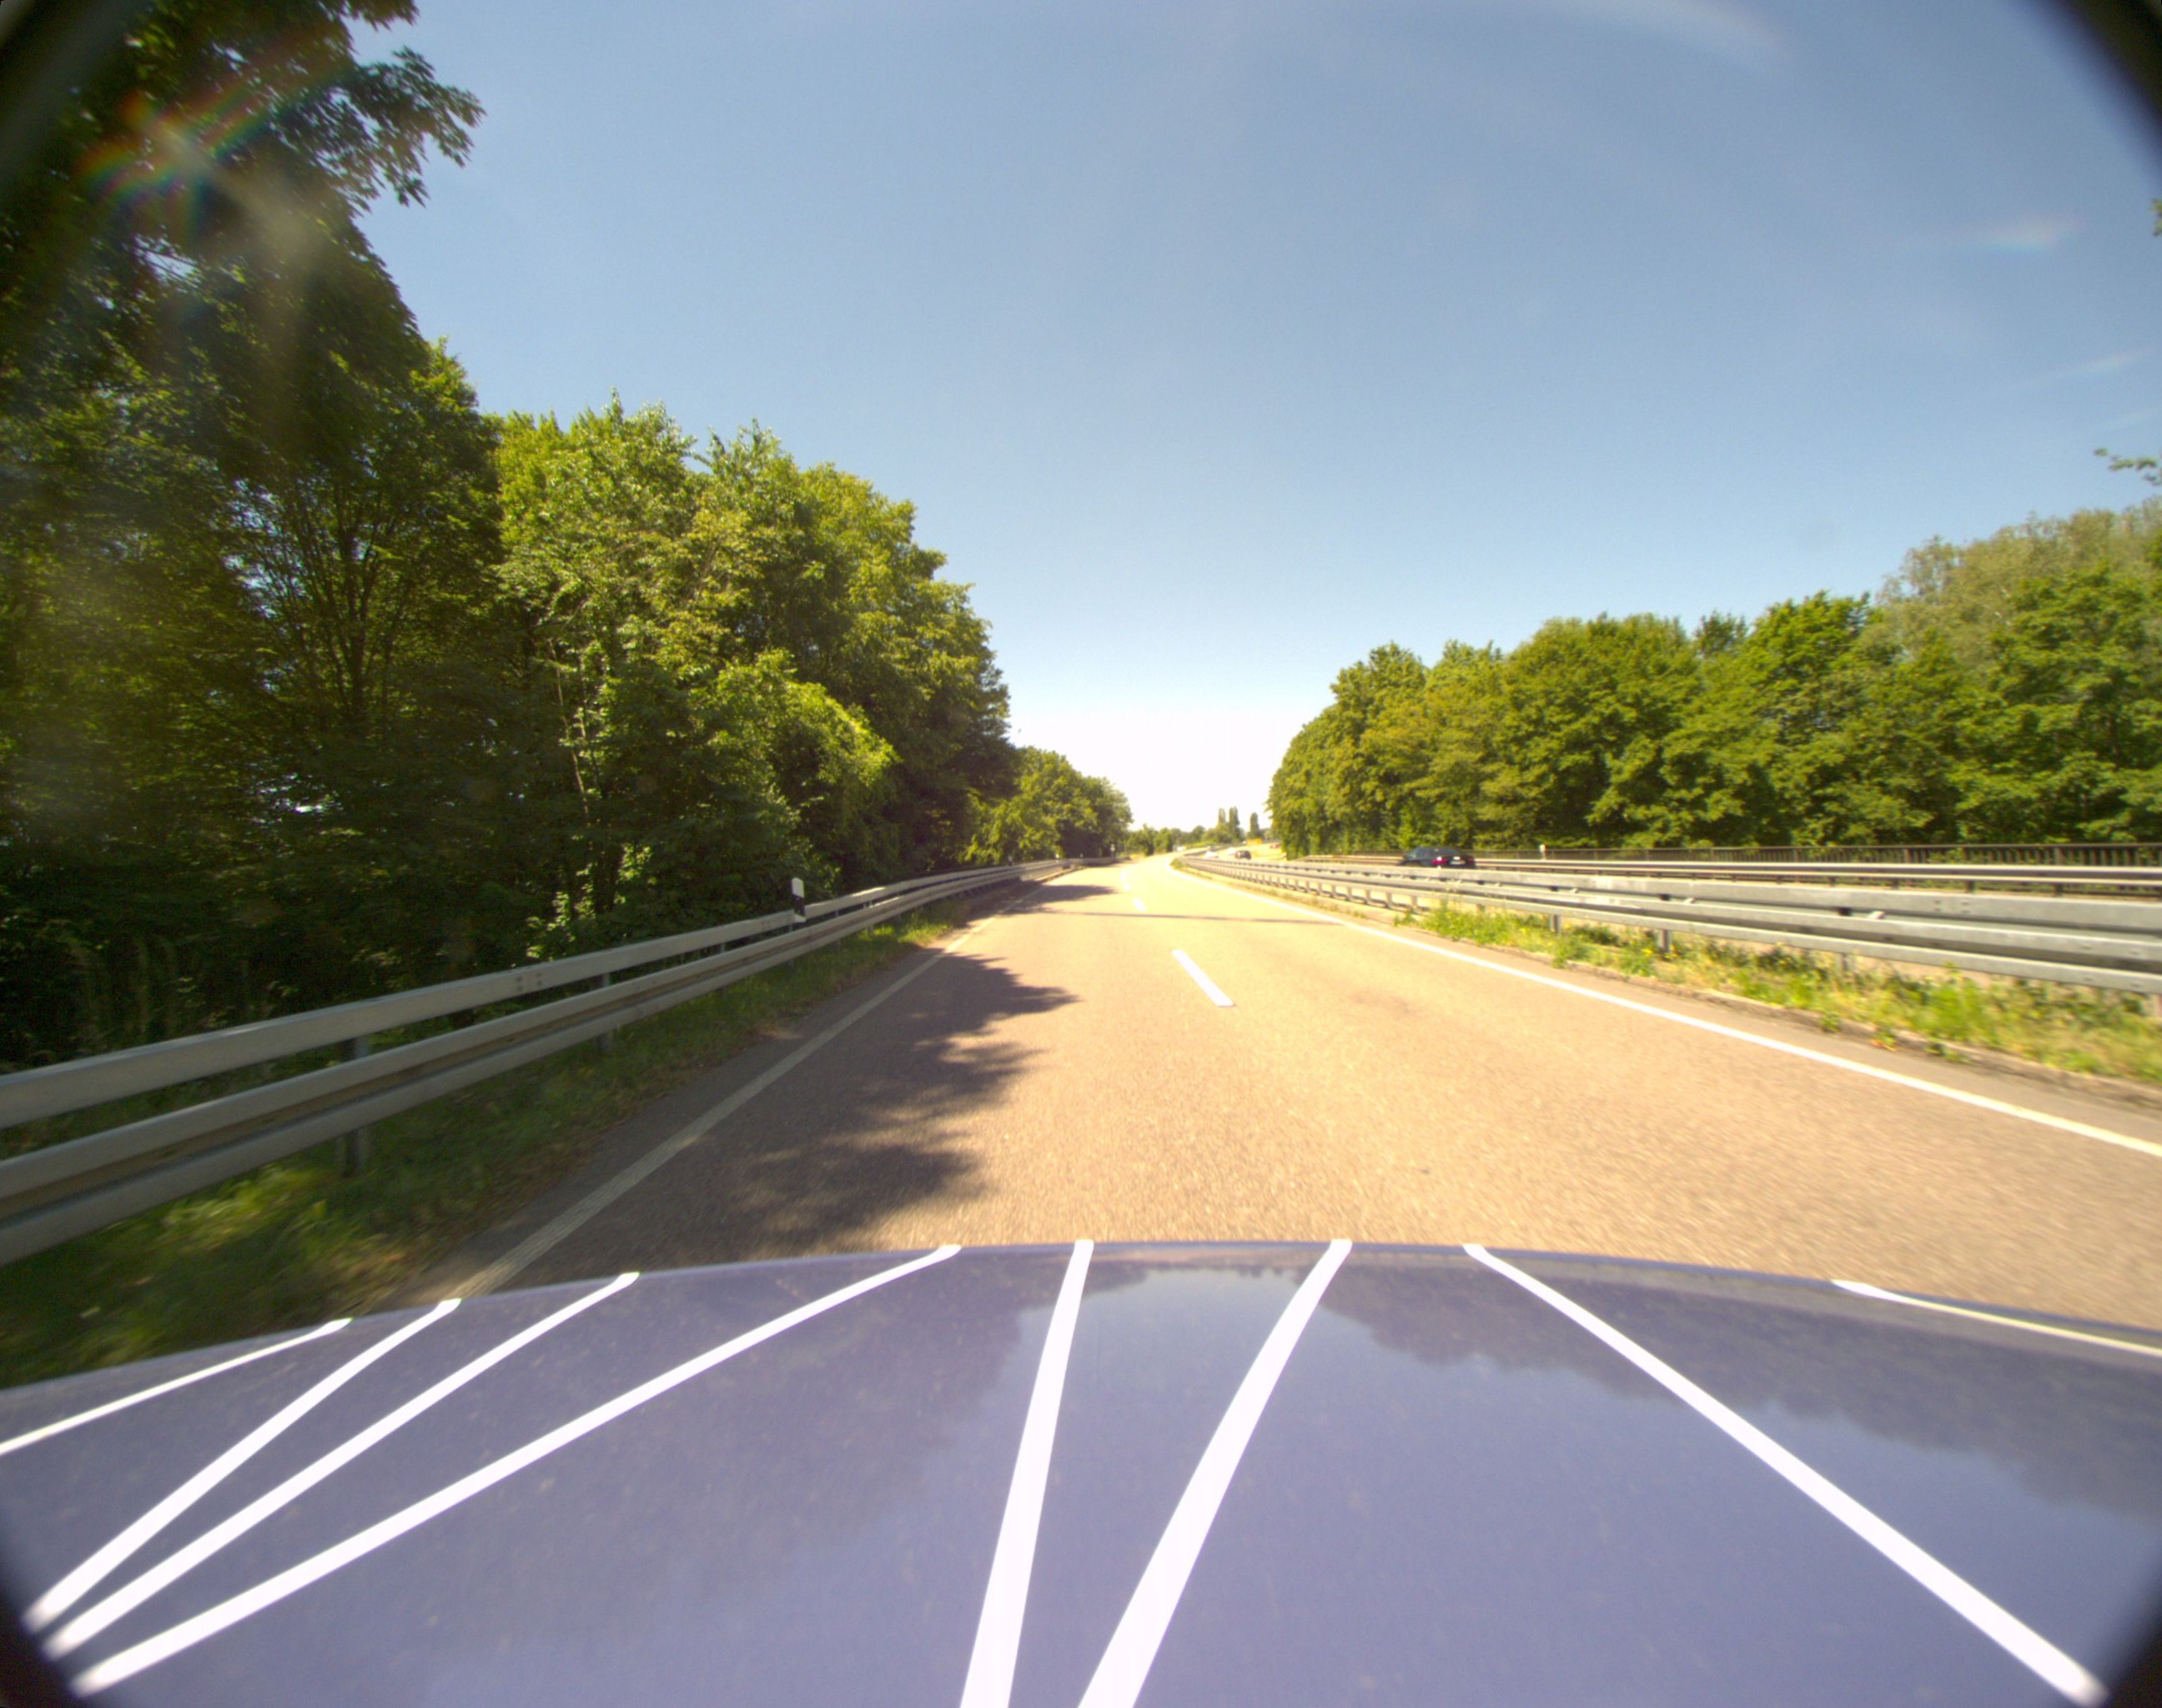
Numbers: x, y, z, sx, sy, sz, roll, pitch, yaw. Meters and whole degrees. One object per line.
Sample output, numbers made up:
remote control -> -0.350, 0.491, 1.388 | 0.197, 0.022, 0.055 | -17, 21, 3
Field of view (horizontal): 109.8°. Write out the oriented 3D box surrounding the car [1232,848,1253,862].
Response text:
car -> 18.889, 0.109, 88.983 | 1.655, 1.519, 3.998 | -1, 0, 2

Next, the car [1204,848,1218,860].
car -> 19.105, 0.002, 111.520 | 1.655, 1.597, 4.220 | -1, 0, 4

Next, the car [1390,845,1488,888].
car -> 13.914, 0.430, 29.861 | 1.760, 1.519, 4.684 | -1, 0, 2

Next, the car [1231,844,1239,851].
car -> 33.184, -1.458, 163.704 | 1.654, 1.439, 4.222 | -1, 0, 9
